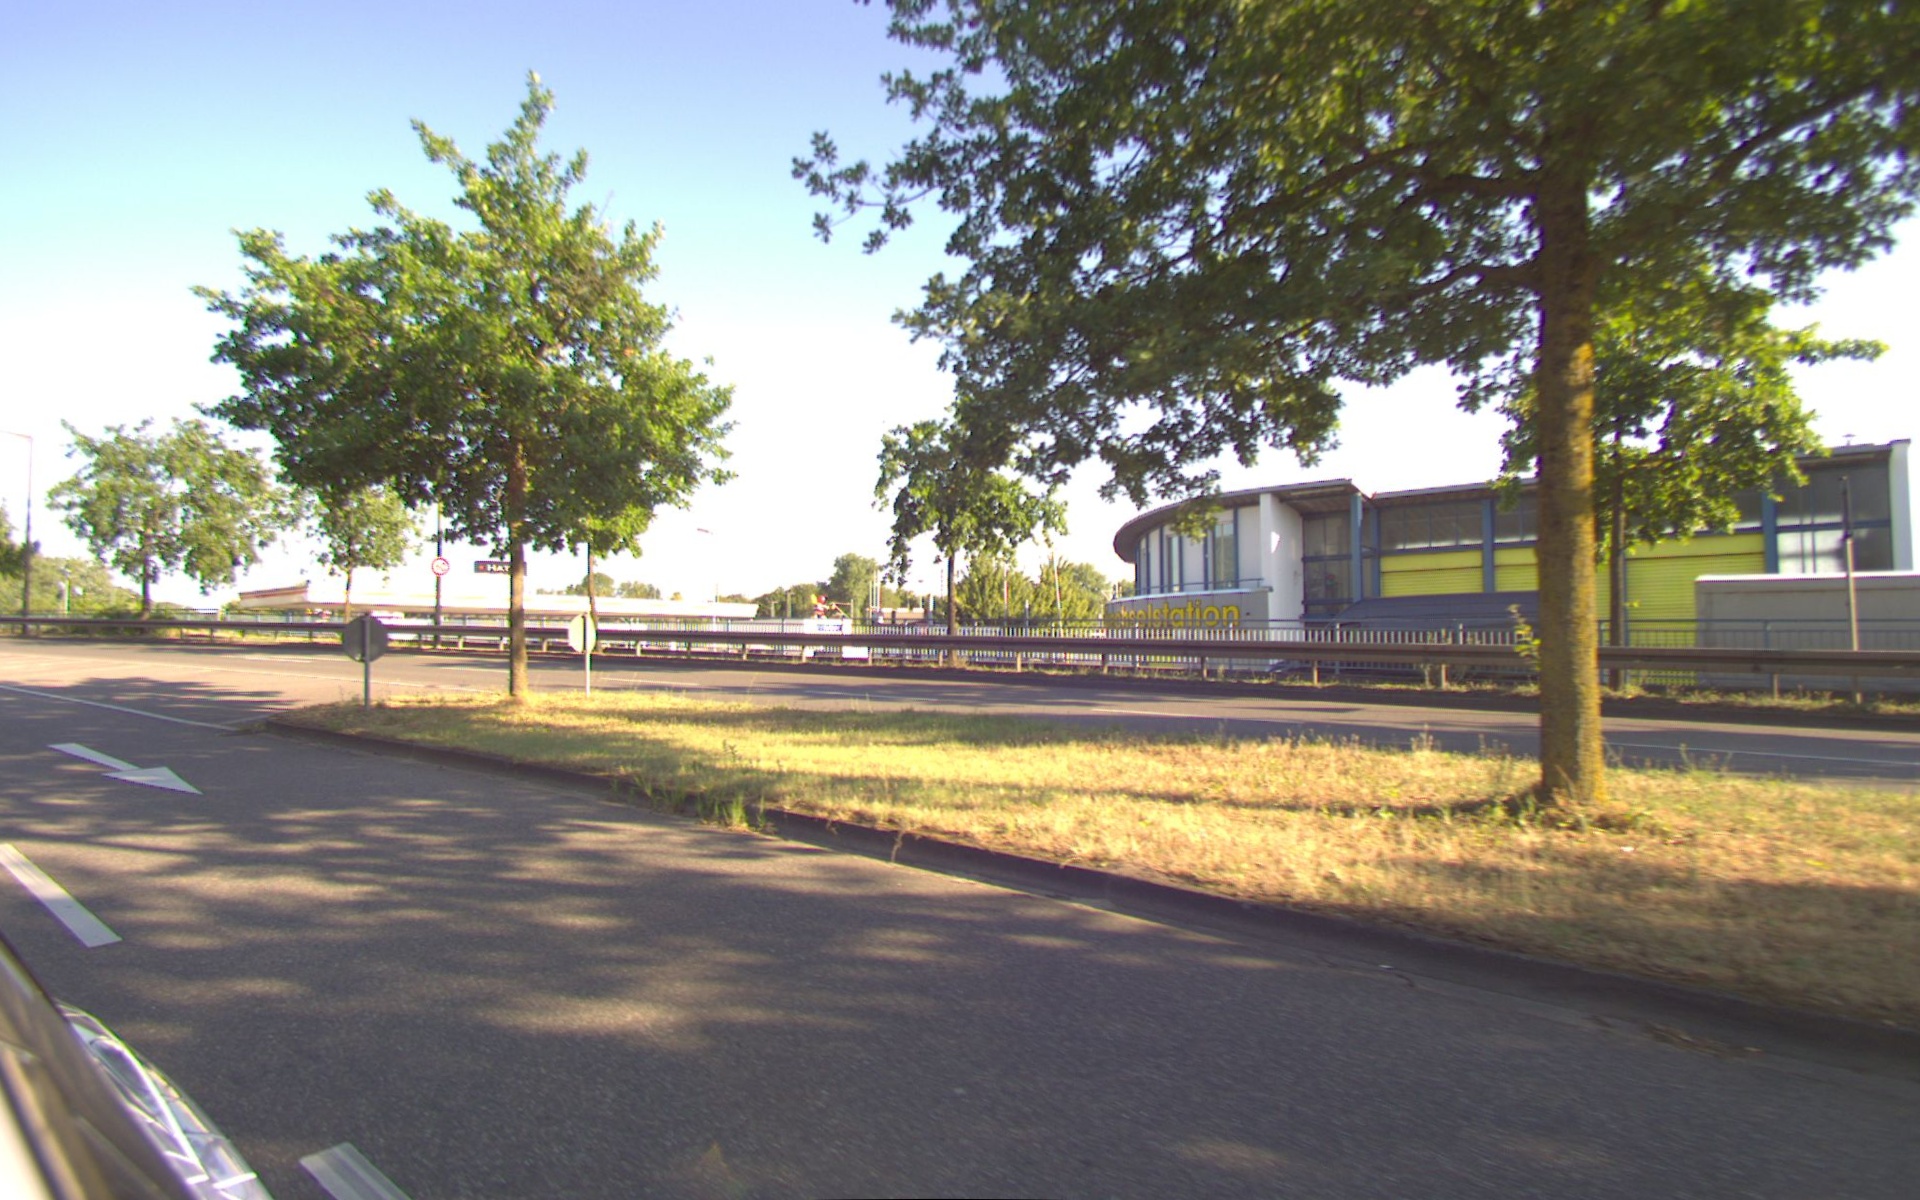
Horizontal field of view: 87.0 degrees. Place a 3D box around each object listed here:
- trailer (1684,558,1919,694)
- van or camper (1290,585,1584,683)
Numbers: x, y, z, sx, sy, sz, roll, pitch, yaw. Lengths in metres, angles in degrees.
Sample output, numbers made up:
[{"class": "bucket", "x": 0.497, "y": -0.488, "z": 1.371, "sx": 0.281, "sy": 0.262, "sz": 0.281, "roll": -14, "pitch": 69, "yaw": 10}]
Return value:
[{"class": "trailer", "x": 15.120, "y": 0.393, "z": 15.322, "sx": 6.601, "sy": 1.985, "sz": 2.395, "roll": -1, "pitch": -2, "yaw": 40}, {"class": "van or camper", "x": 9.313, "y": 0.644, "z": 20.021, "sx": 4.955, "sy": 1.698, "sz": 1.974, "roll": -1, "pitch": -2, "yaw": 39}]
